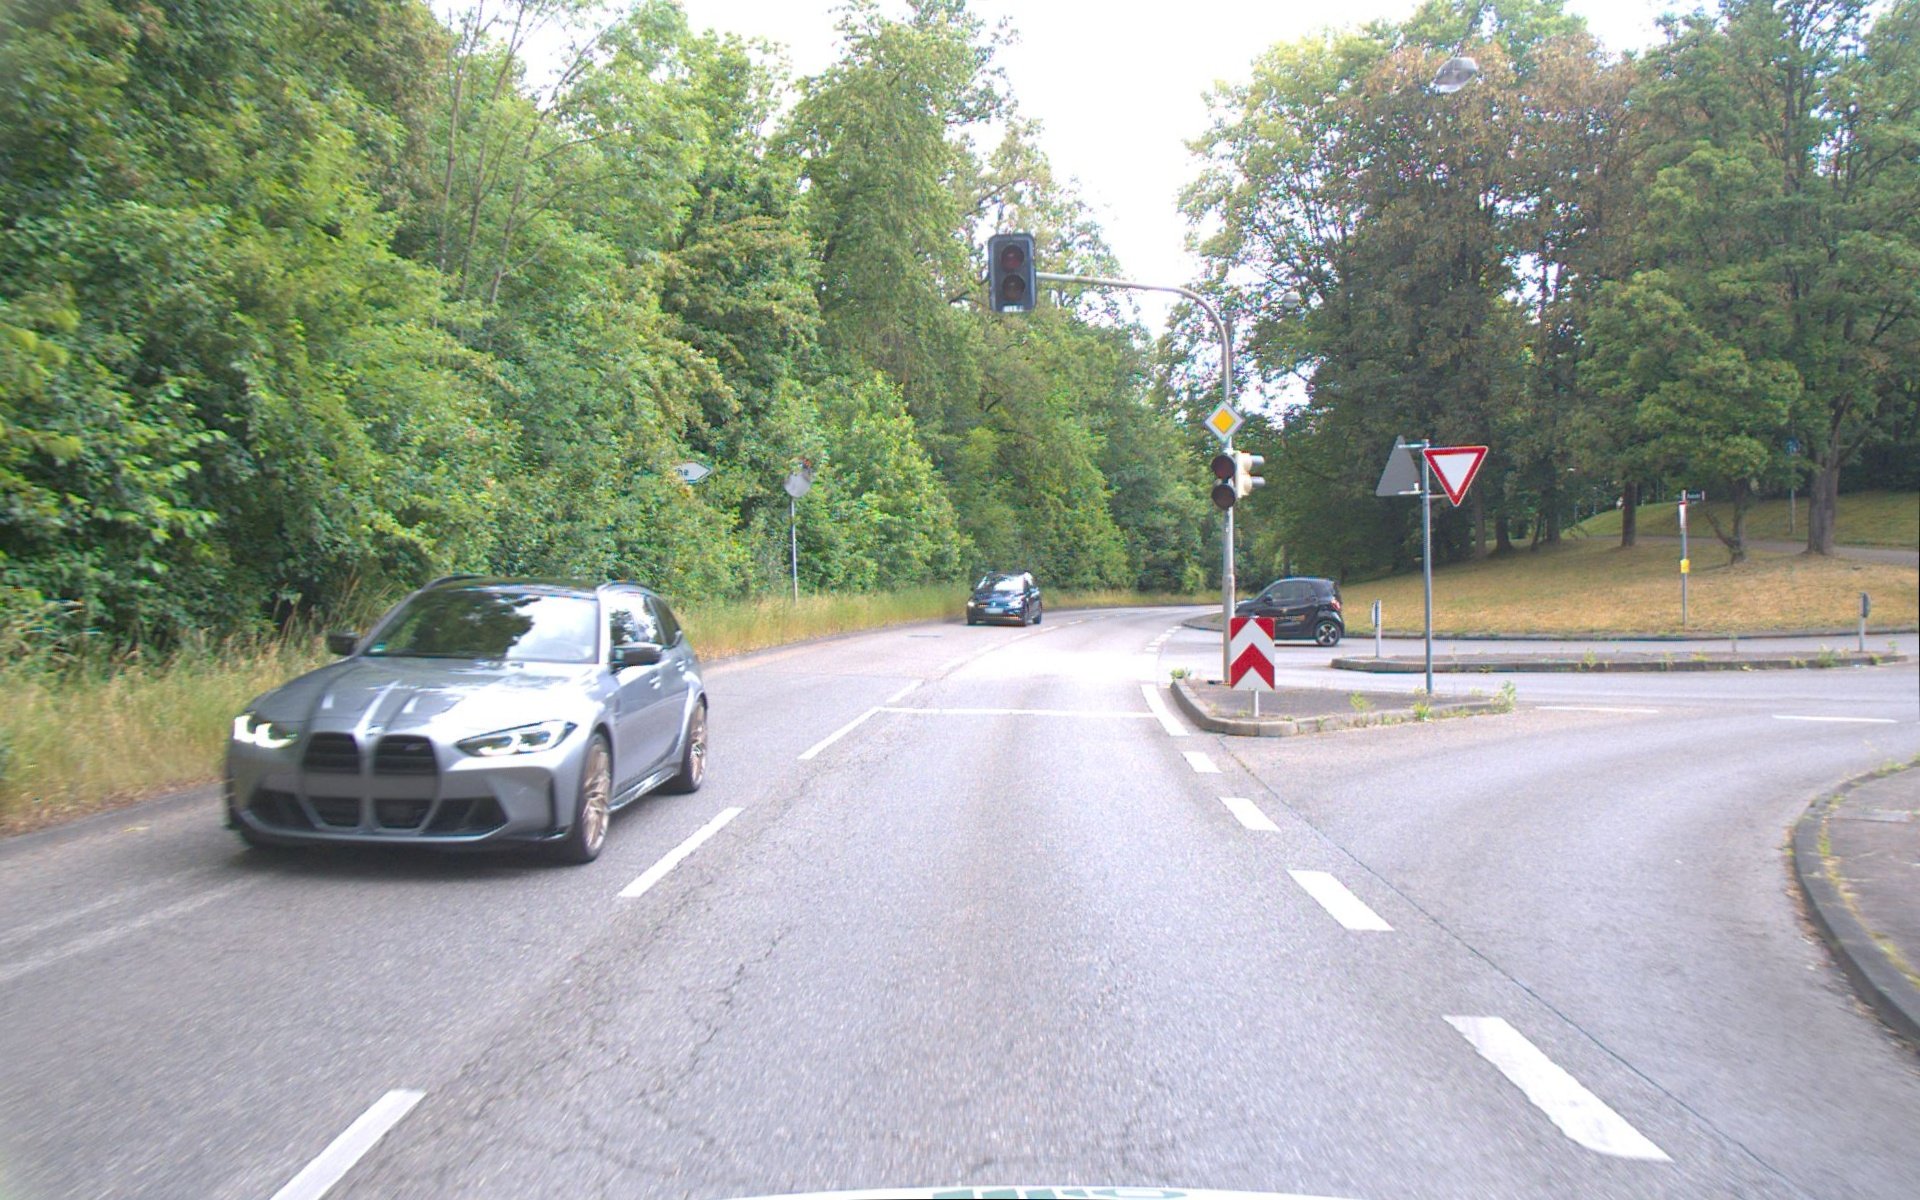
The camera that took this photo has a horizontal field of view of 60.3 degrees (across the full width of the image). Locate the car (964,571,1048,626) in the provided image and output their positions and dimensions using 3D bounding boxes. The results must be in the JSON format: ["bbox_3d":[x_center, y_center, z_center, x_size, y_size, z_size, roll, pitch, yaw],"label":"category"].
[{"bbox_3d":[1.420,-0.043,49.384,1.750,1.541,4.846,-1,0,11],"label":"car"}]

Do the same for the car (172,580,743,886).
[{"bbox_3d":[-2.727,0.635,10.336,1.859,1.378,4.844,2,0,2],"label":"car"}]

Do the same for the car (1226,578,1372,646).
[{"bbox_3d":[7.815,0.273,38.202,3.233,1.521,1.669,0,1,12],"label":"car"}]
